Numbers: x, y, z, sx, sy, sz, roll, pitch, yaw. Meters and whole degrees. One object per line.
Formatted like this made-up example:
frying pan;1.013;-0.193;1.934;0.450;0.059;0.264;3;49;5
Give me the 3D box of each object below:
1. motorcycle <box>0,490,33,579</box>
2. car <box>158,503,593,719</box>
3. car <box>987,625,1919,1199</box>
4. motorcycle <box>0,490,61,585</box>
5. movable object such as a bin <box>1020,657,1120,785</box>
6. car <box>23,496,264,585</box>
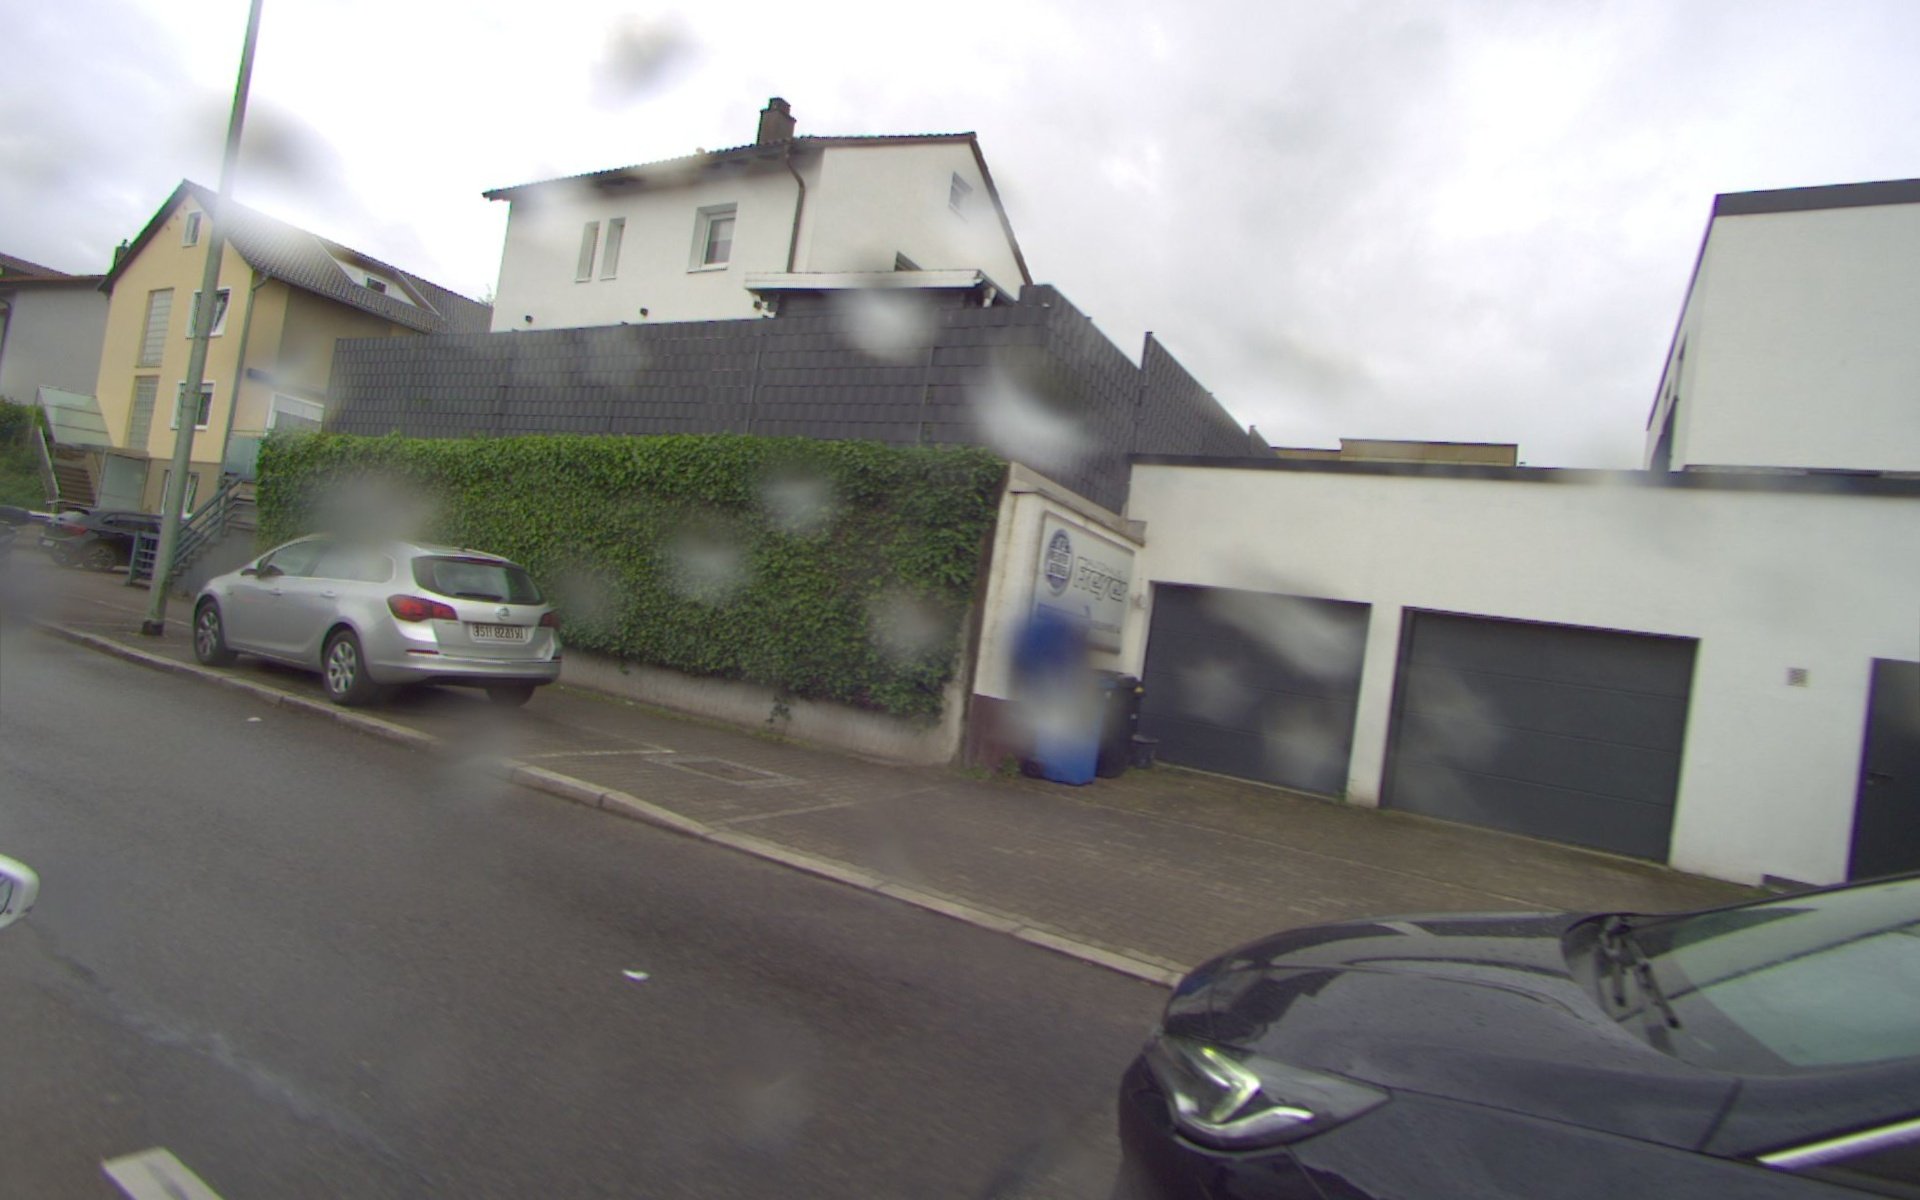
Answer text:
motorcycle;-16.727;-1.203;16.504;0.744;1.467;2.092;7;-2;8
car;-5.914;0.063;10.024;4.459;1.527;1.704;7;-2;32
car;2.203;1.055;1.627;3.934;1.466;1.759;7;-2;32
motorcycle;-15.418;-1.032;15.837;0.809;1.468;2.085;8;-1;-12
movable object such as a bin;1.079;1.156;9.835;0.656;1.119;0.596;7;2;31
car;-19.337;-1.355;24.005;1.837;1.450;3.995;7;-1;30
